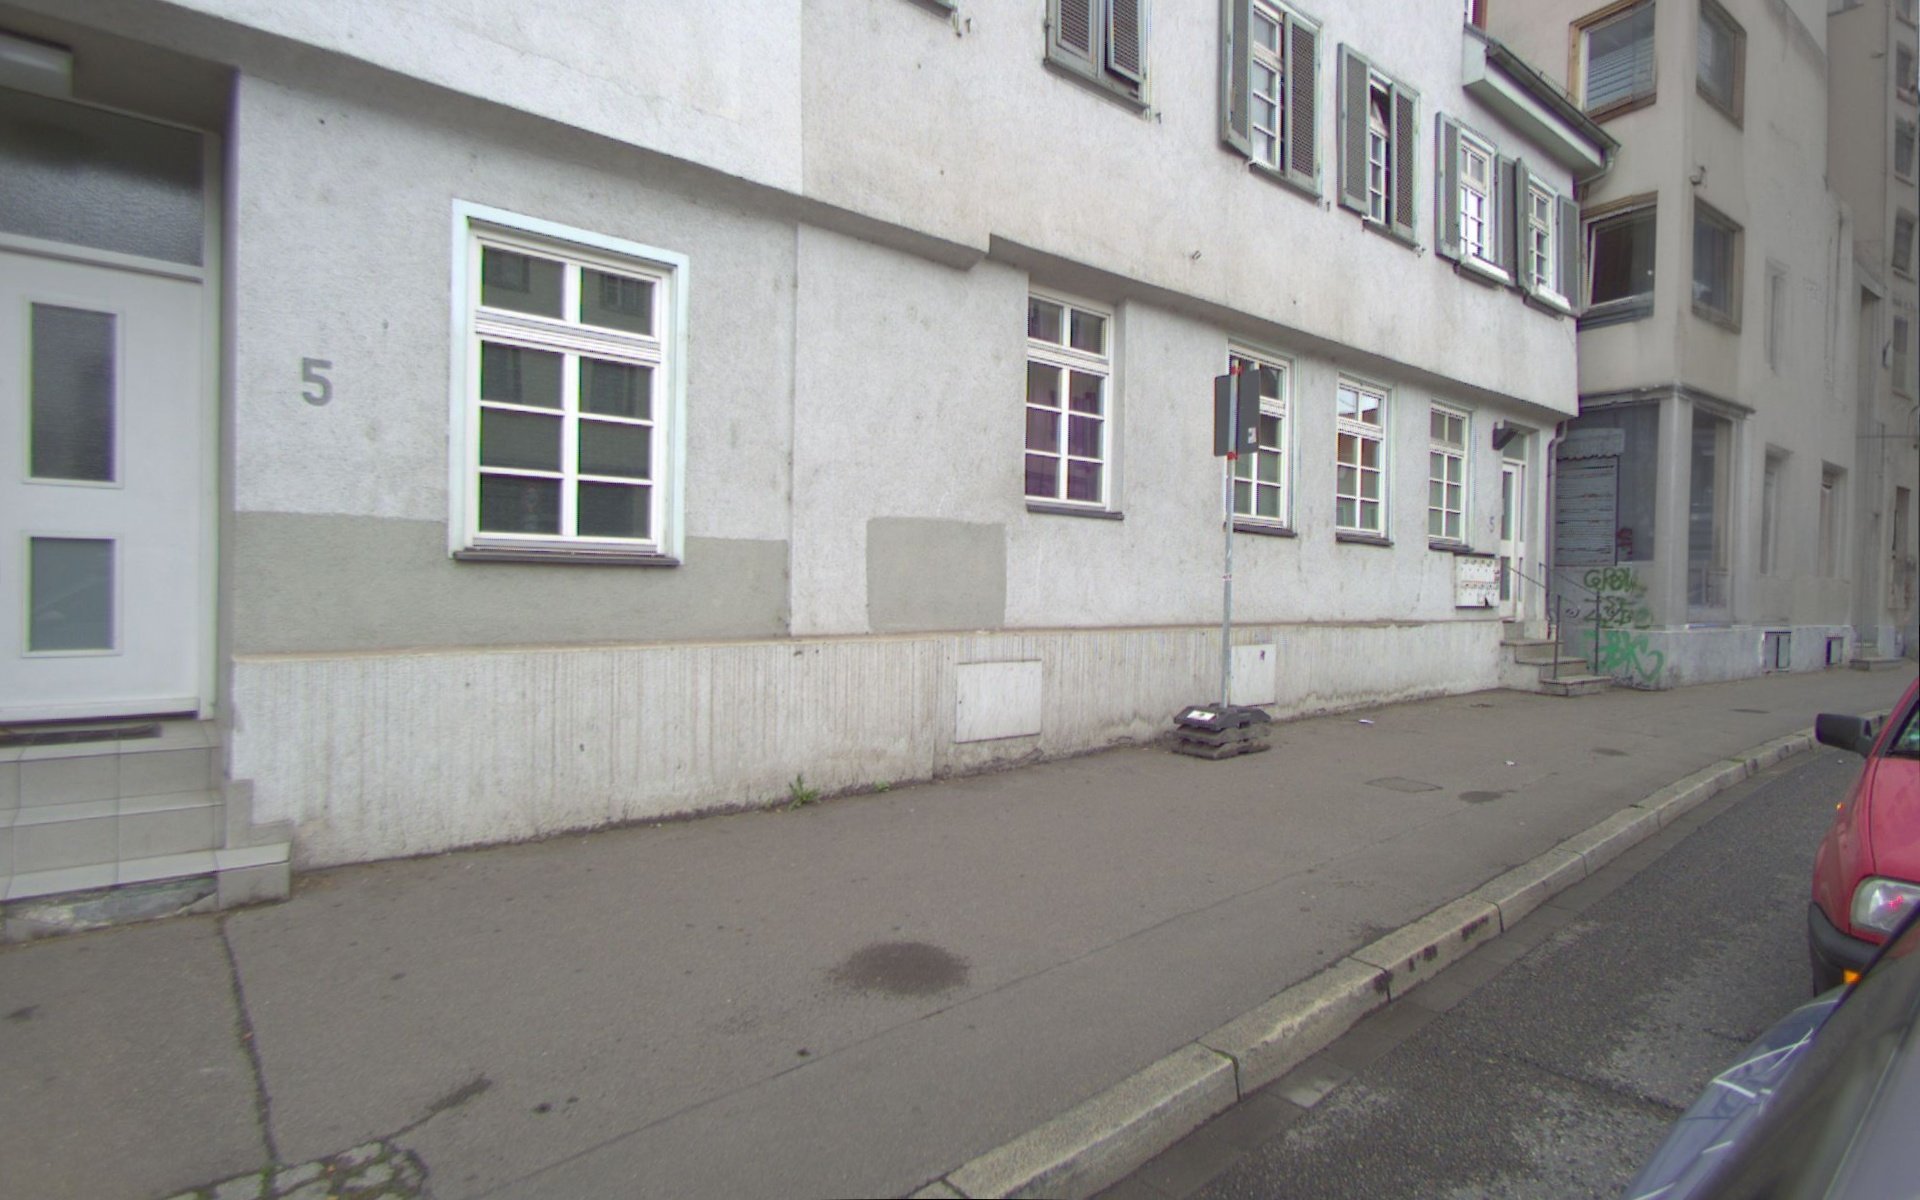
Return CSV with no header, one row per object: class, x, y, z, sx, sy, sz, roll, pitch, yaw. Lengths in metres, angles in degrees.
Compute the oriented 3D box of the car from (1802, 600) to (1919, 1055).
car,5.022,0.738,4.126,3.930,1.485,1.802,0,-2,-41
